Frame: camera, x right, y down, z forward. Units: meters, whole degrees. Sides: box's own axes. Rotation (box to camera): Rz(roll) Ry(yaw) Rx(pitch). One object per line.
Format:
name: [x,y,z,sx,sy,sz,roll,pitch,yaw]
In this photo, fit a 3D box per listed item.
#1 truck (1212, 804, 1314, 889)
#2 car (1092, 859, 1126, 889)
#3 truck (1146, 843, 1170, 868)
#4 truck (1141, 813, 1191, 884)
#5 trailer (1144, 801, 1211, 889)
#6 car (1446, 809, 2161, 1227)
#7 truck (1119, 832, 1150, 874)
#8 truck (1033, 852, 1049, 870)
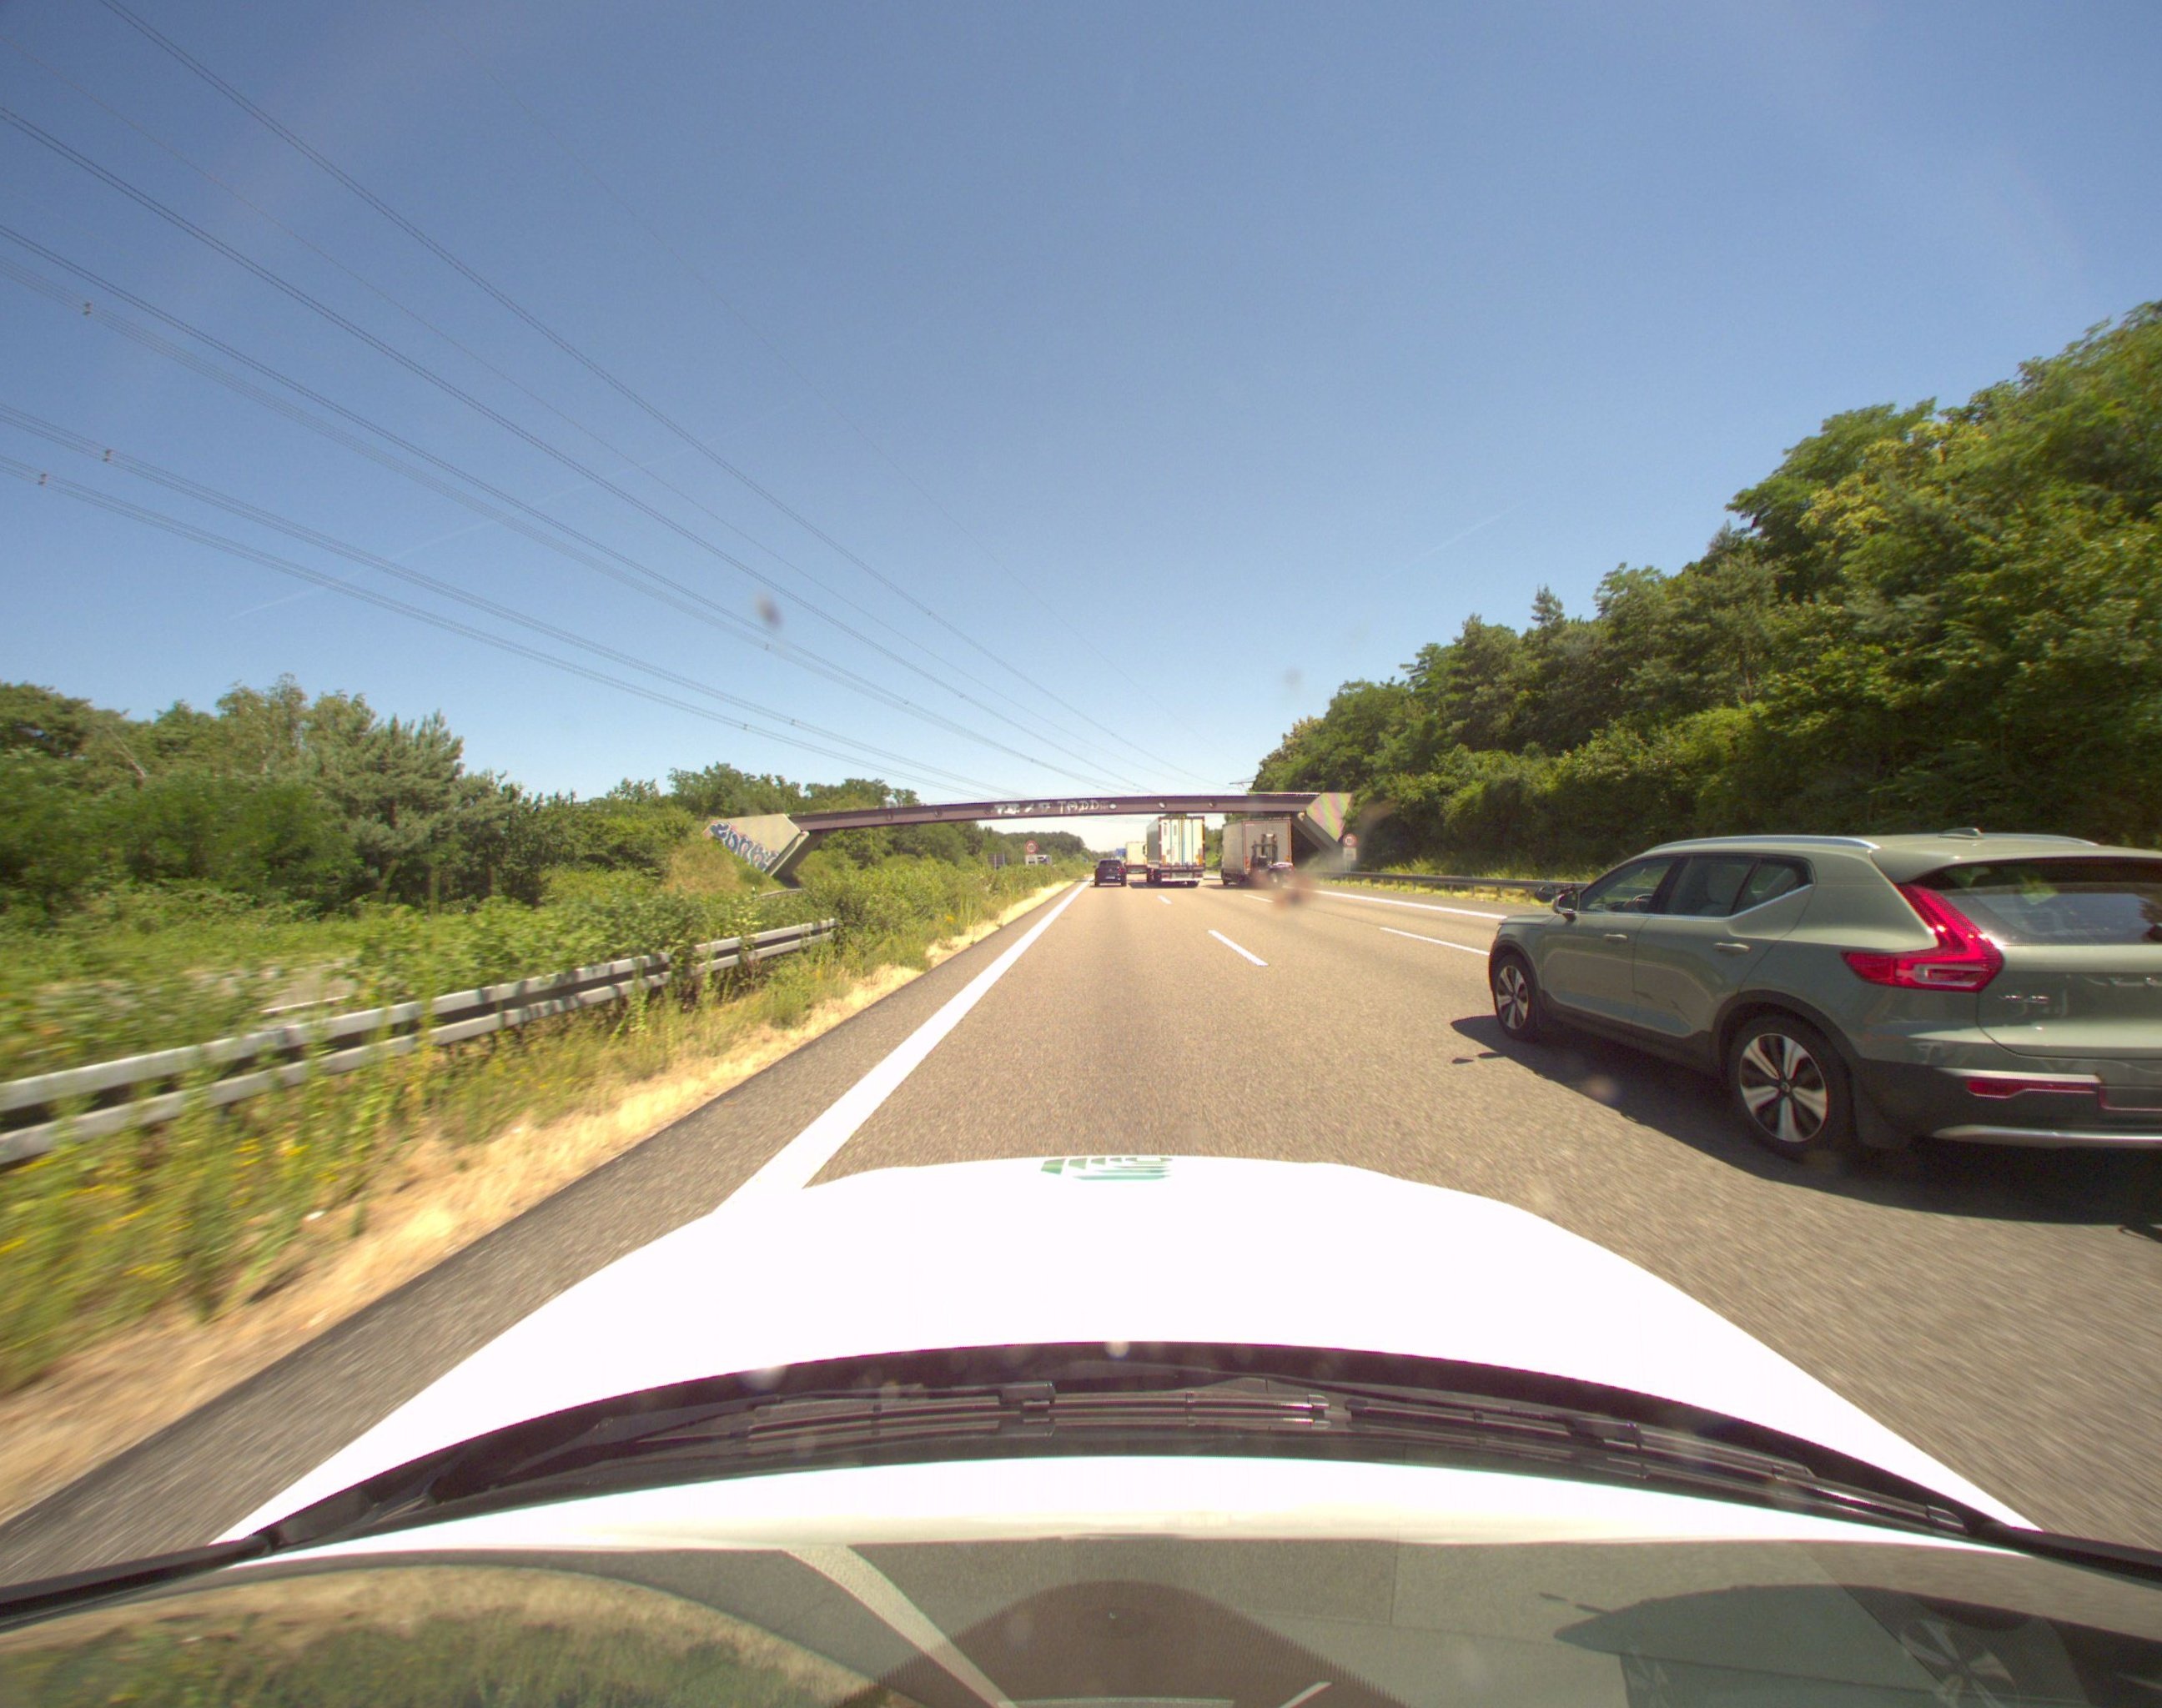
truck: [10.095,-0.294,46.744,3.557,4.245,11.655,0,-1,2]
car: [1.705,1.203,50.984,1.987,1.772,4.000,-2,0,0]
truck: [14.216,0.321,151.634,3.499,4.492,13.254,-1,-1,2]
truck: [6.073,-0.303,59.215,3.075,4.885,6.599,0,-1,2]
trailer: [5.842,-0.423,51.427,3.075,4.885,12.261,0,-1,2]
car: [4.445,0.653,5.535,1.872,1.612,4.702,-1,-1,1]
truck: [6.789,-0.092,105.152,3.499,5.167,10.261,-1,-1,2]
truck: [-9.798,1.763,199.421,2.747,4.122,10.221,-3,-1,3]
